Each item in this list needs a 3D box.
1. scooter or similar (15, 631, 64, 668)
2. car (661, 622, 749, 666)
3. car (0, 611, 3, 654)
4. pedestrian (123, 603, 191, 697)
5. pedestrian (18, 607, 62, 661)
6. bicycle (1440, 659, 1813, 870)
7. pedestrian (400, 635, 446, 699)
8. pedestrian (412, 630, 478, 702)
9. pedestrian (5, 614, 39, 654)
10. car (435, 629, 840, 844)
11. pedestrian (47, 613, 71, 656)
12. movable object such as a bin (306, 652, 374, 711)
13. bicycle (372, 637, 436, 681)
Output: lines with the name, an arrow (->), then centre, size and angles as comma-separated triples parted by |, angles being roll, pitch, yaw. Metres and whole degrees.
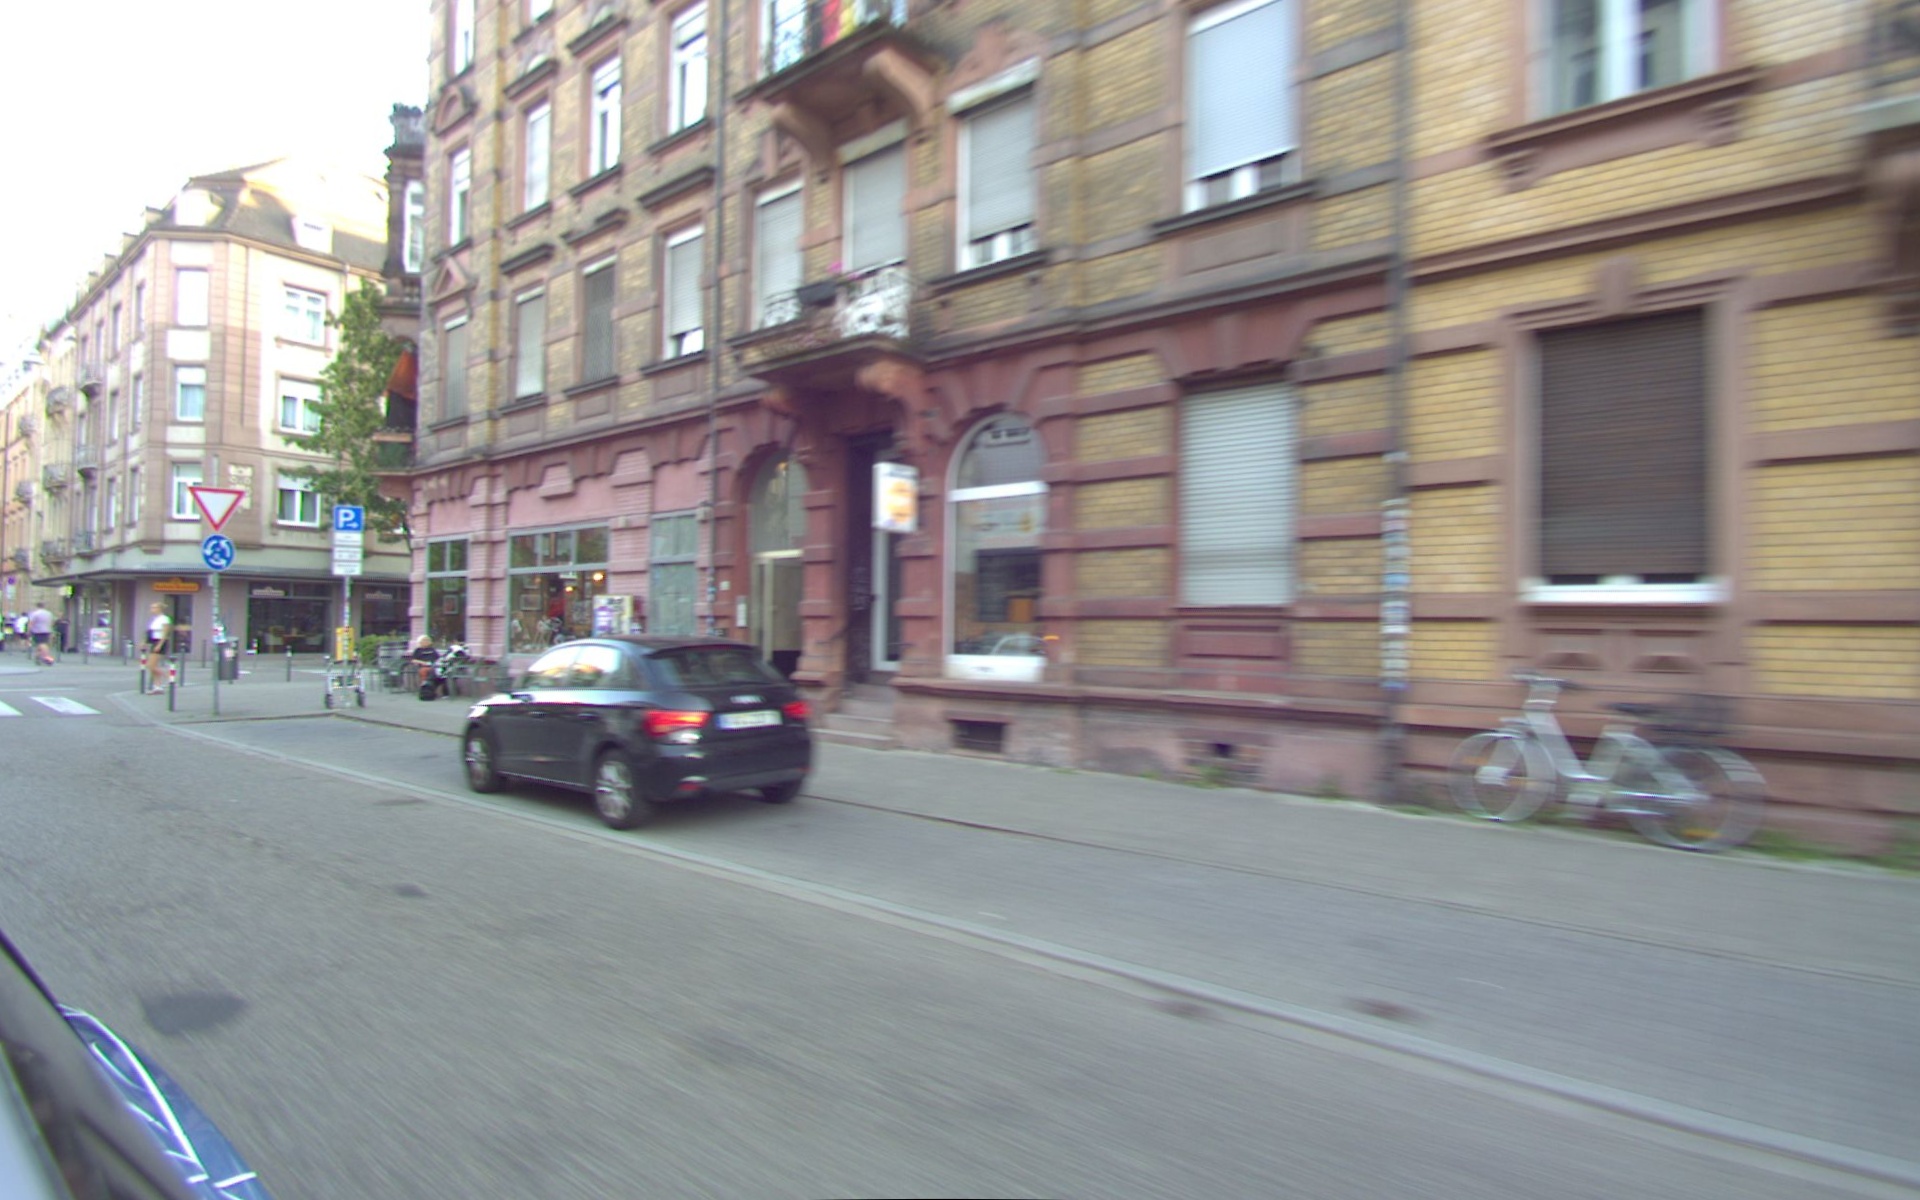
scooter or similar -> -28.992, 1.561, 31.873 | 1.167, 1.112, 0.801 | -1, -3, 30
car -> -11.941, 2.042, 47.286 | 3.997, 1.852, 1.973 | 0, -3, 40
car -> -46.119, 1.473, 46.777 | 4.764, 1.973, 2.115 | -1, -2, 39
pedestrian -> -16.113, 1.000, 20.325 | 1.032, 1.825, 0.757 | 1, -4, -39
pedestrian -> -28.991, 1.085, 31.900 | 0.670, 1.673, 0.801 | -1, -3, 30
bicycle -> 4.452, 1.029, 6.906 | 2.048, 1.180, 0.521 | -1, -1, 44
pedestrian -> -10.210, 1.257, 19.238 | 0.791, 1.152, 0.498 | 0, -1, 42
pedestrian -> -9.454, 1.196, 18.599 | 0.903, 1.264, 0.644 | -1, 0, 25
pedestrian -> -41.936, 1.490, 45.257 | 0.736, 1.757, 1.217 | 1, -1, -25
car -> -2.924, 0.974, 8.747 | 3.854, 1.431, 1.675 | -1, -2, 43
pedestrian -> -38.576, 1.479, 43.334 | 0.645, 1.792, 0.694 | 1, -2, -32
movable object such as a bin -> -10.504, 1.365, 17.159 | 0.728, 0.922, 0.754 | 0, -1, 37
bicycle -> -13.503, 1.421, 24.630 | 0.604, 1.033, 1.775 | -1, -2, 0
